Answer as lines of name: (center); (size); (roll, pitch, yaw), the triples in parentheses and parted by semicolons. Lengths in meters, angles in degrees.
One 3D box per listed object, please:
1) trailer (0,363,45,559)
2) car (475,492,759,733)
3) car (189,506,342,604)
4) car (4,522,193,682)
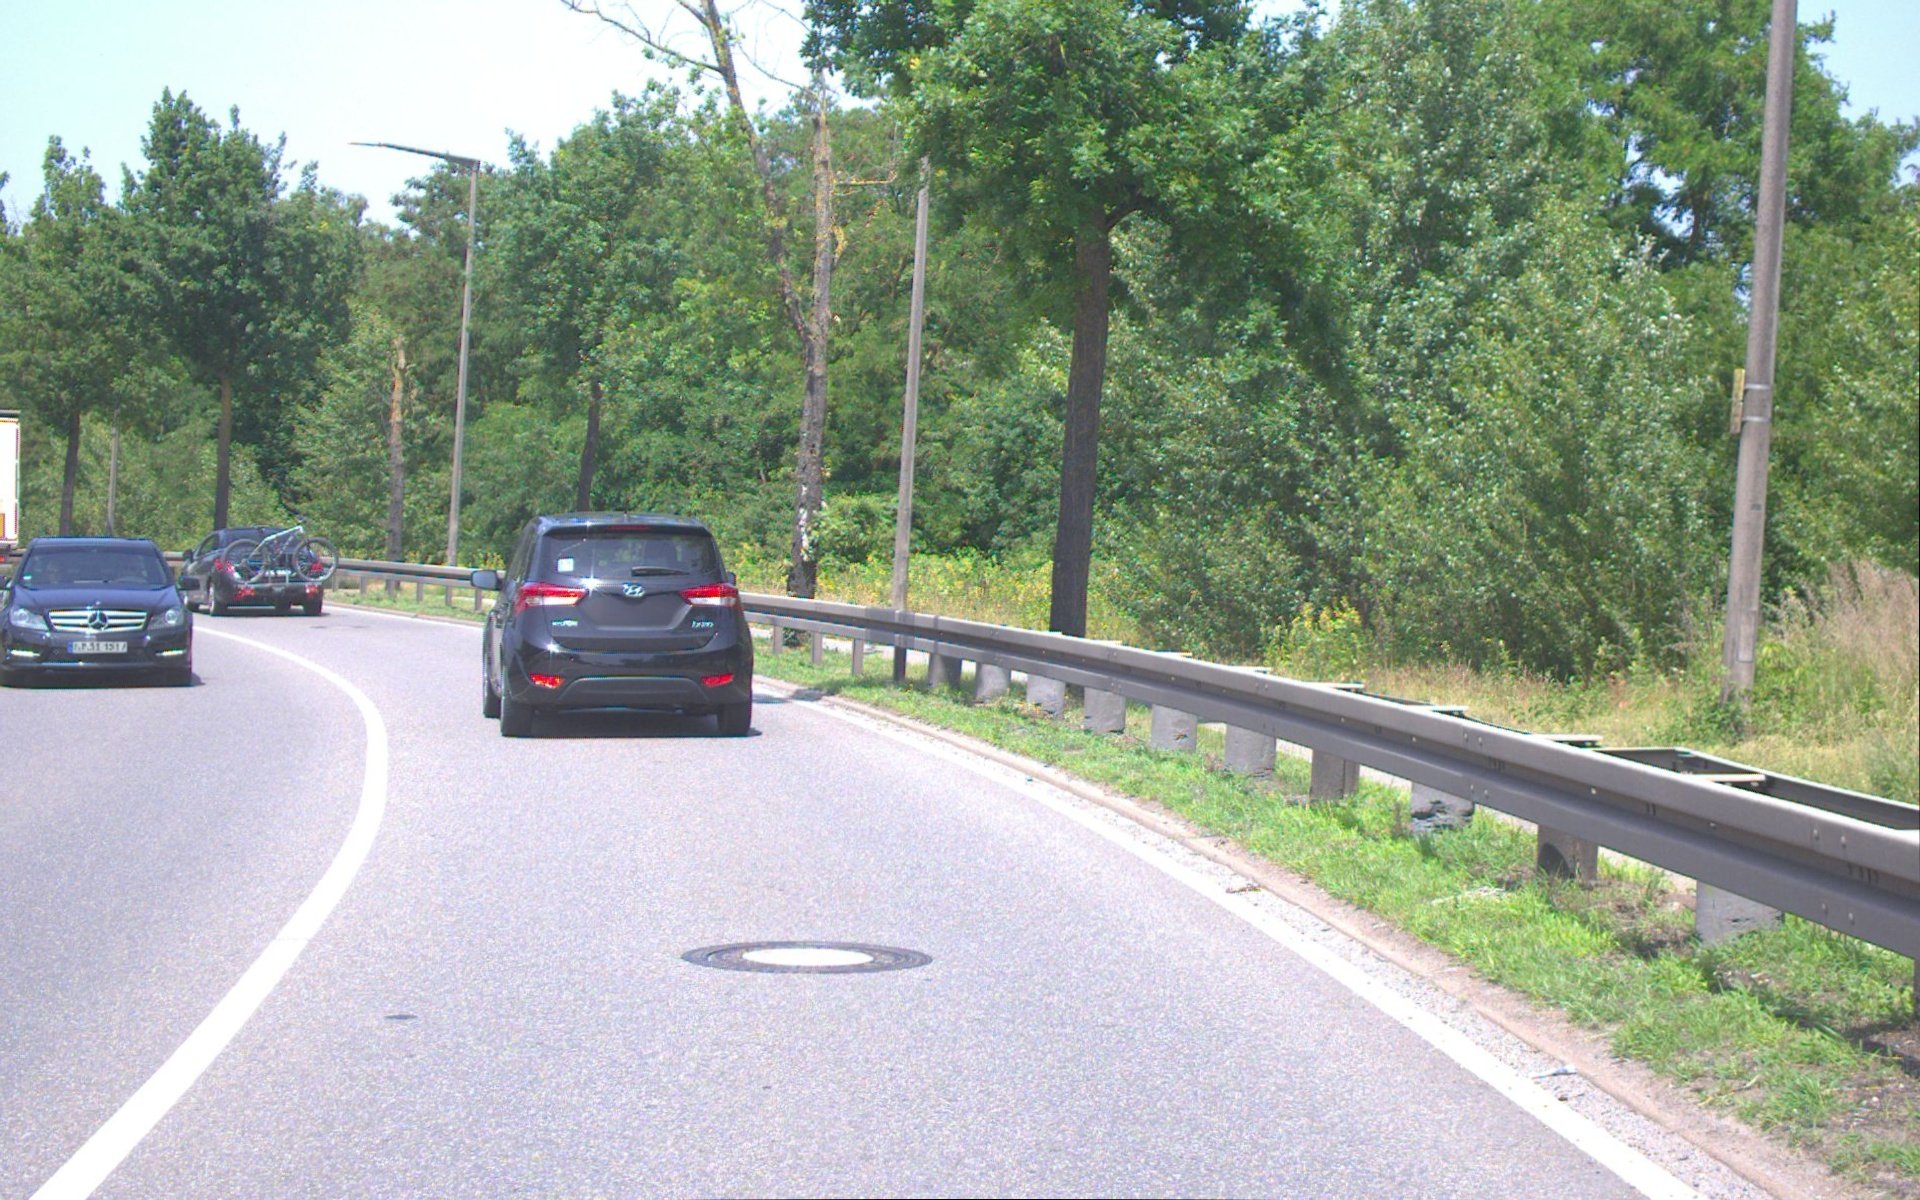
trailer: (-25.013, -3.383, 81.474); (3.569, 4.368, 11.443); (0, 3, -30)
car: (-2.608, 0.029, 25.526); (1.921, 1.568, 3.893); (1, 3, -8)
car: (-11.198, -0.746, 55.256); (2.011, 1.424, 3.778); (0, 3, -18)
car: (-8.412, -0.031, 33.656); (1.675, 1.438, 4.131); (0, 2, -14)
